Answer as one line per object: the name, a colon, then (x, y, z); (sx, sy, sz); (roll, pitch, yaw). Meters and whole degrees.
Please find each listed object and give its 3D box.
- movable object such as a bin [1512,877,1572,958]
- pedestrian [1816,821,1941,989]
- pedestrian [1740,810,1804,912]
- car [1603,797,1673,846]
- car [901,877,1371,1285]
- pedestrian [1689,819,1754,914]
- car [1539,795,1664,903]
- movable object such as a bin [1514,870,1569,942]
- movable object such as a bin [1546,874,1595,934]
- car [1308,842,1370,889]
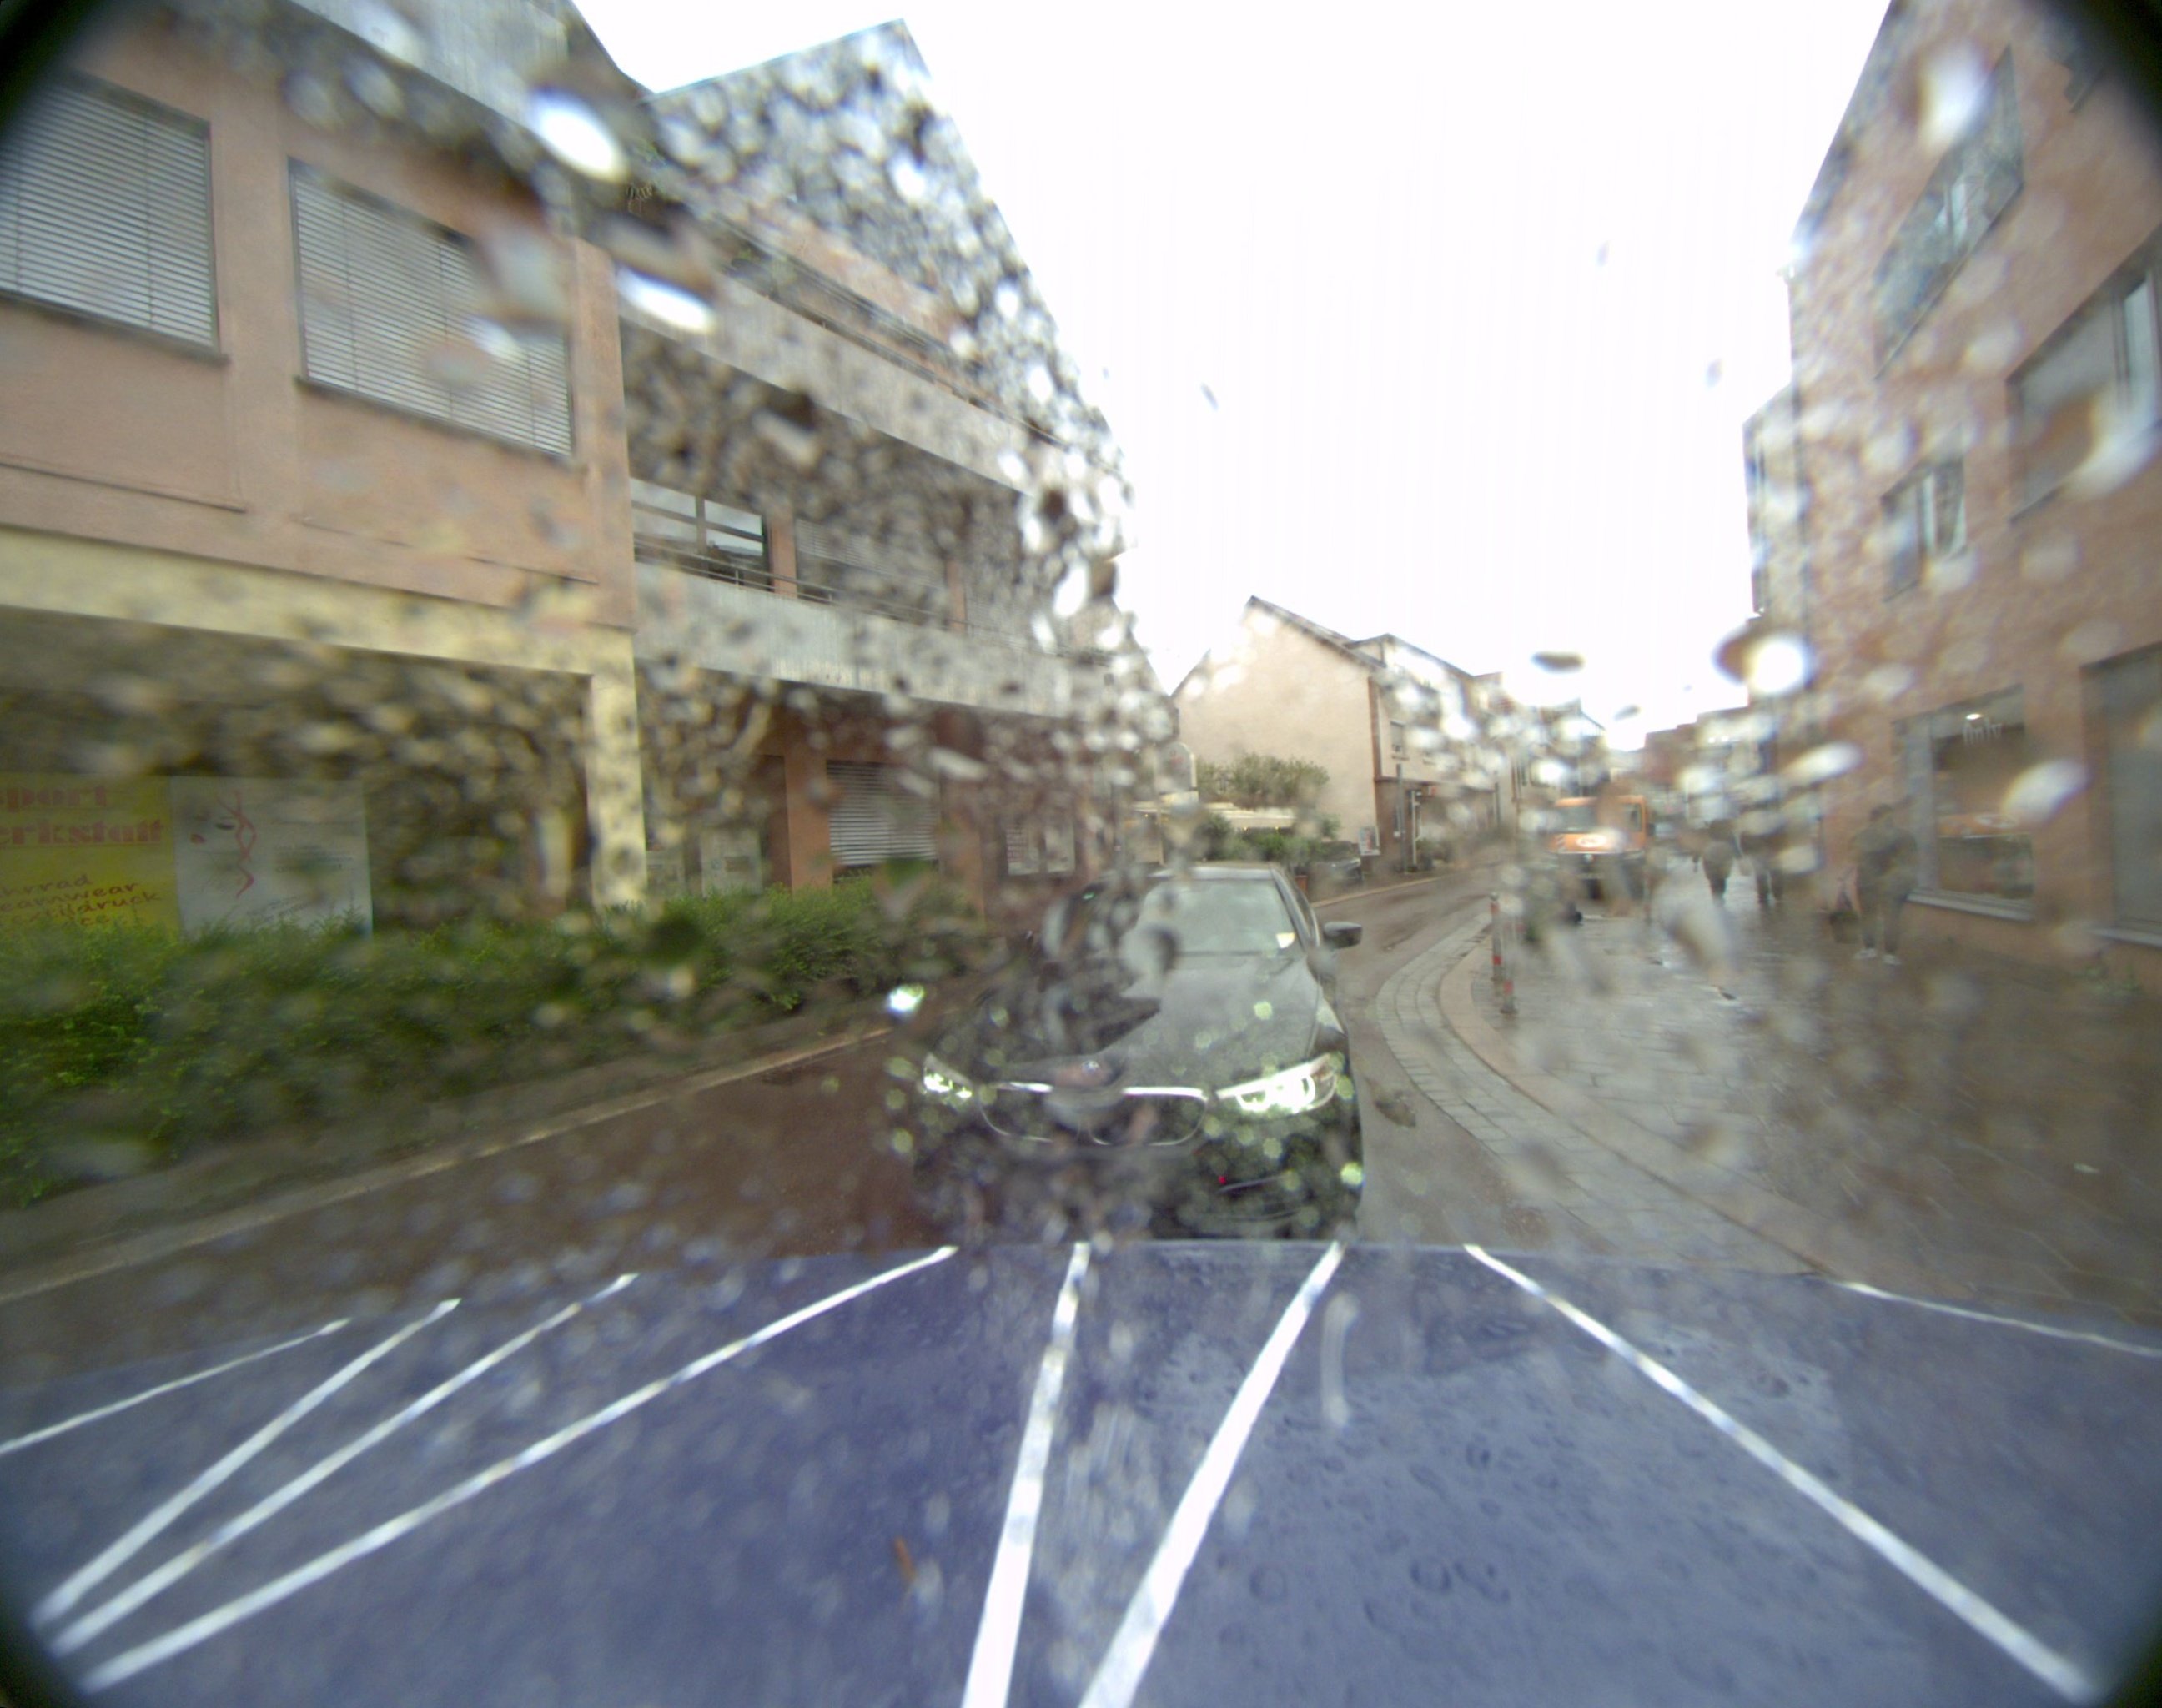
movable object such as a bin: (6.348, 0.860, 10.474); (0.657, 1.030, 0.611); (-3, 1, 31)
pedestrian: (8.038, 0.494, 7.695); (0.660, 1.600, 0.685); (-3, 1, 30)
pedestrian: (12.100, 0.115, 13.330); (0.623, 1.702, 0.810); (-4, 0, 33)
car: (37.100, -2.119, 50.445); (2.705, 2.857, 8.862); (-3, -1, 42)
car: (0.701, 1.013, 5.371); (1.945, 1.394, 4.424); (-3, 0, 14)
pedestrian: (11.518, 0.223, 13.694); (0.715, 1.630, 0.747); (-4, 0, 33)
car: (12.775, -0.185, 18.438); (1.995, 2.227, 5.872); (-2, 1, 39)
movable object such as a bin: (7.007, 0.787, 11.570); (0.657, 1.031, 0.611); (-2, 1, 31)
movable object such as a bin: (7.930, 0.803, 12.311); (0.582, 0.921, 0.482); (-3, 1, 41)
car: (8.467, 0.332, 25.052); (1.735, 1.349, 3.941); (-3, 1, 18)
